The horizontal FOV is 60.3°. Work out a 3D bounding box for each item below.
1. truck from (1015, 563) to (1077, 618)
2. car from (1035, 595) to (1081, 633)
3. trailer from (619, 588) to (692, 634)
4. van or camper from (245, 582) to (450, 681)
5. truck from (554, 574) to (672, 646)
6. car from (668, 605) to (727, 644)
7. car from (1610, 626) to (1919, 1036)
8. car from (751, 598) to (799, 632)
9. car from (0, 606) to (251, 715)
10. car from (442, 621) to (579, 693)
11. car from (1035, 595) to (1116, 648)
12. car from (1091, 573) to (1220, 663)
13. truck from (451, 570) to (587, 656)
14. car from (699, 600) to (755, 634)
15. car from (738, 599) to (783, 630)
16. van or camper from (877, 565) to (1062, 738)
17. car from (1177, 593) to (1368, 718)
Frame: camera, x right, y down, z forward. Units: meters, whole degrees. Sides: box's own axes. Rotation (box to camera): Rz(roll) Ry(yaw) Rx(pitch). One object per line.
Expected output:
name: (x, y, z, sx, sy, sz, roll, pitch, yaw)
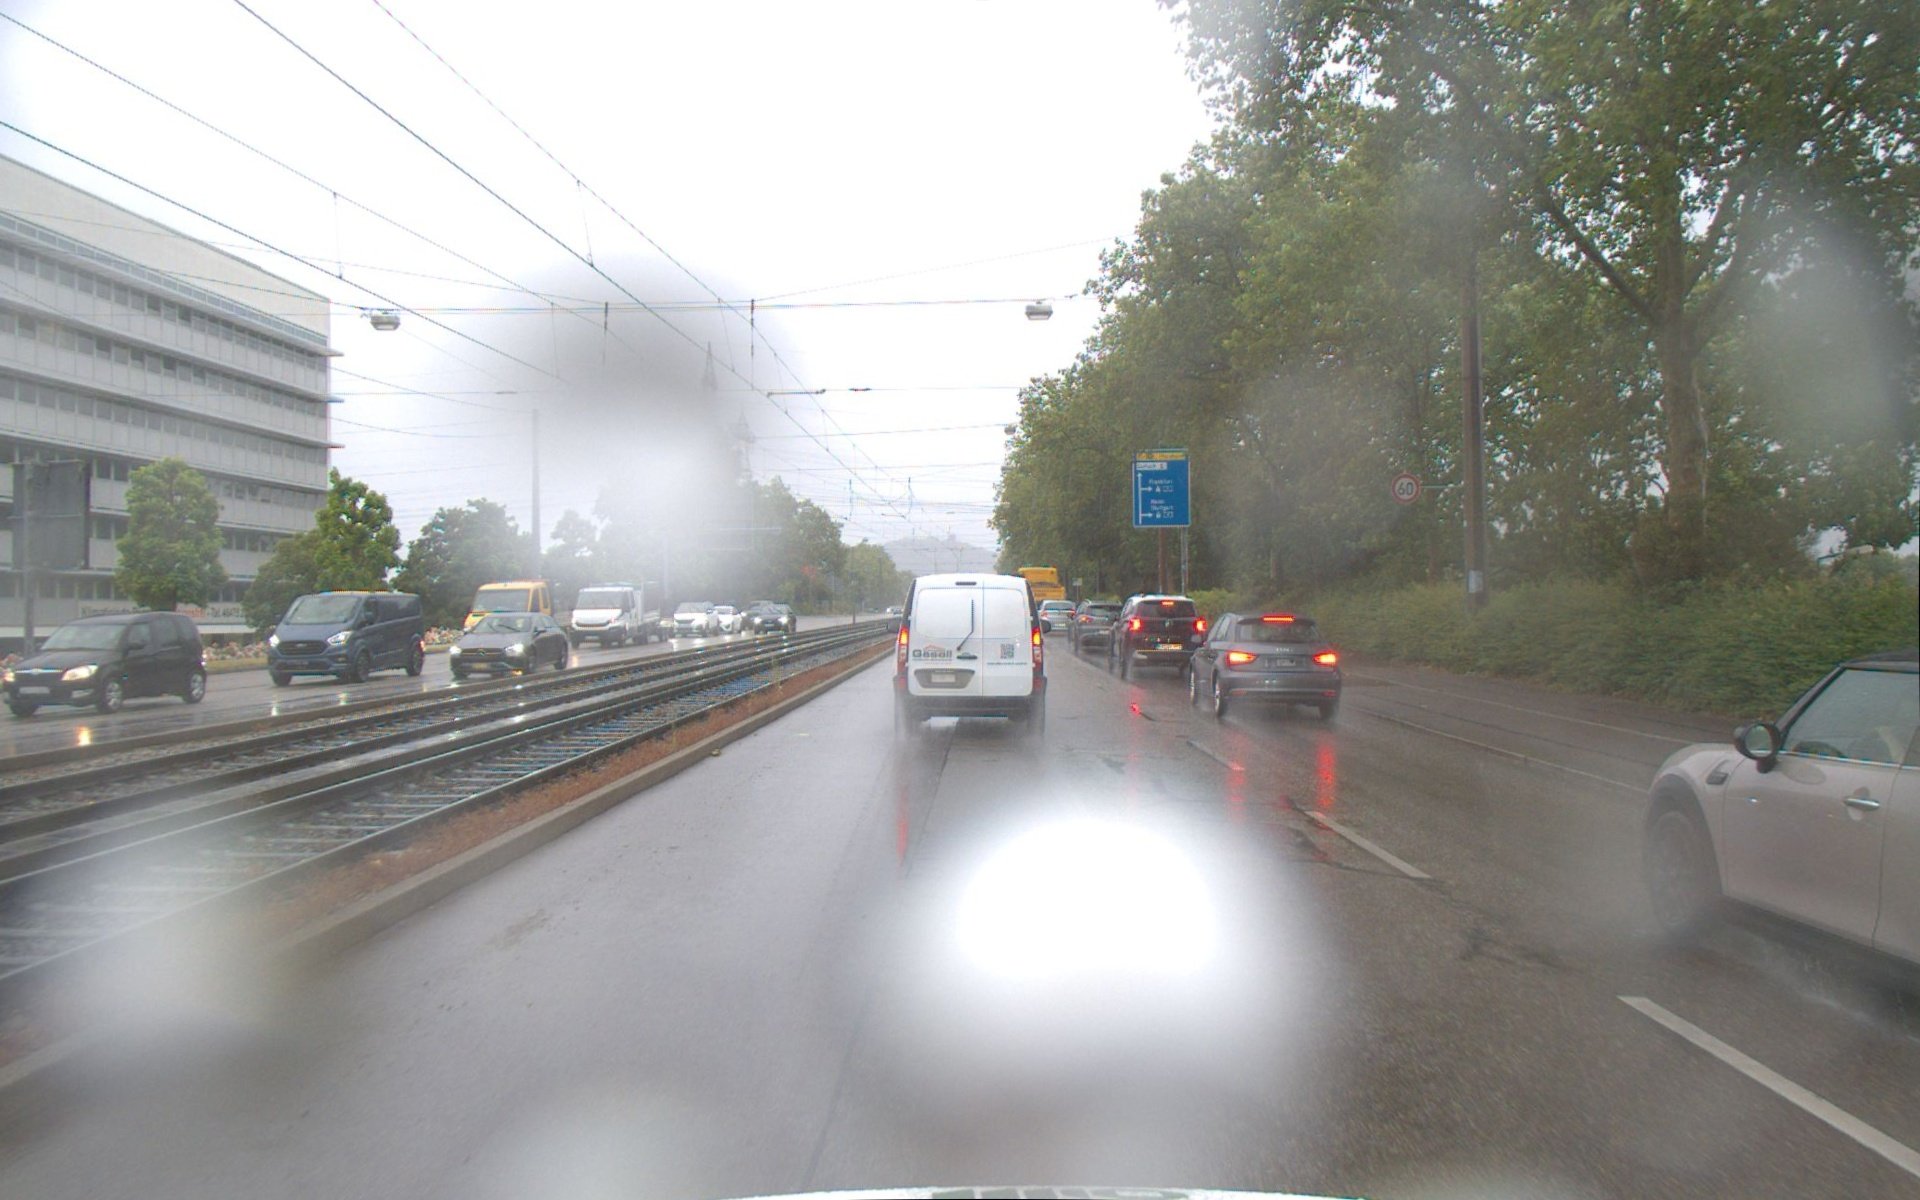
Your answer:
truck: (4.467, -0.503, 87.080, 3.048, 2.822, 6.330, 0, 0, 1)
car: (3.959, 0.566, 67.378, 1.780, 1.438, 3.779, 0, 1, 2)
trailer: (-12.672, 0.430, 69.148, 2.074, 1.824, 3.838, 1, 0, 4)
van or camper: (-13.889, 0.666, 37.975, 2.256, 2.049, 5.688, 1, 0, 3)
truck: (-13.140, 0.360, 63.194, 2.384, 2.501, 7.223, 1, 0, 5)
car: (-12.345, 1.127, 78.028, 1.734, 1.712, 4.691, 1, 0, 4)
car: (4.296, 0.868, 6.711, 1.755, 1.438, 3.853, 2, -1, 0)
car: (-9.379, 0.729, 84.079, 1.781, 1.651, 4.537, -1, 0, 1)
car: (-14.168, 0.955, 28.150, 1.819, 1.646, 4.909, -2, 0, 3)
car: (-10.557, 1.299, 39.200, 1.820, 1.520, 4.690, -2, 0, 1)
car: (3.347, 0.615, 48.487, 1.783, 1.438, 3.774, 0, 1, -6)
car: (3.989, 0.316, 34.569, 1.862, 1.747, 4.722, 0, 1, -4)
truck: (-13.772, 0.378, 52.131, 2.180, 2.505, 6.070, 1, 0, 5)
car: (-12.115, 0.860, 86.217, 1.952, 1.611, 4.768, -2, 0, 3)
car: (-11.887, 0.842, 98.874, 1.952, 1.751, 4.883, -2, 0, 2)
van or camper: (0.060, 0.509, 19.681, 1.953, 1.815, 3.999, 1, 1, -1)
car: (4.294, 0.714, 23.348, 1.927, 1.555, 3.991, 0, 1, 0)
